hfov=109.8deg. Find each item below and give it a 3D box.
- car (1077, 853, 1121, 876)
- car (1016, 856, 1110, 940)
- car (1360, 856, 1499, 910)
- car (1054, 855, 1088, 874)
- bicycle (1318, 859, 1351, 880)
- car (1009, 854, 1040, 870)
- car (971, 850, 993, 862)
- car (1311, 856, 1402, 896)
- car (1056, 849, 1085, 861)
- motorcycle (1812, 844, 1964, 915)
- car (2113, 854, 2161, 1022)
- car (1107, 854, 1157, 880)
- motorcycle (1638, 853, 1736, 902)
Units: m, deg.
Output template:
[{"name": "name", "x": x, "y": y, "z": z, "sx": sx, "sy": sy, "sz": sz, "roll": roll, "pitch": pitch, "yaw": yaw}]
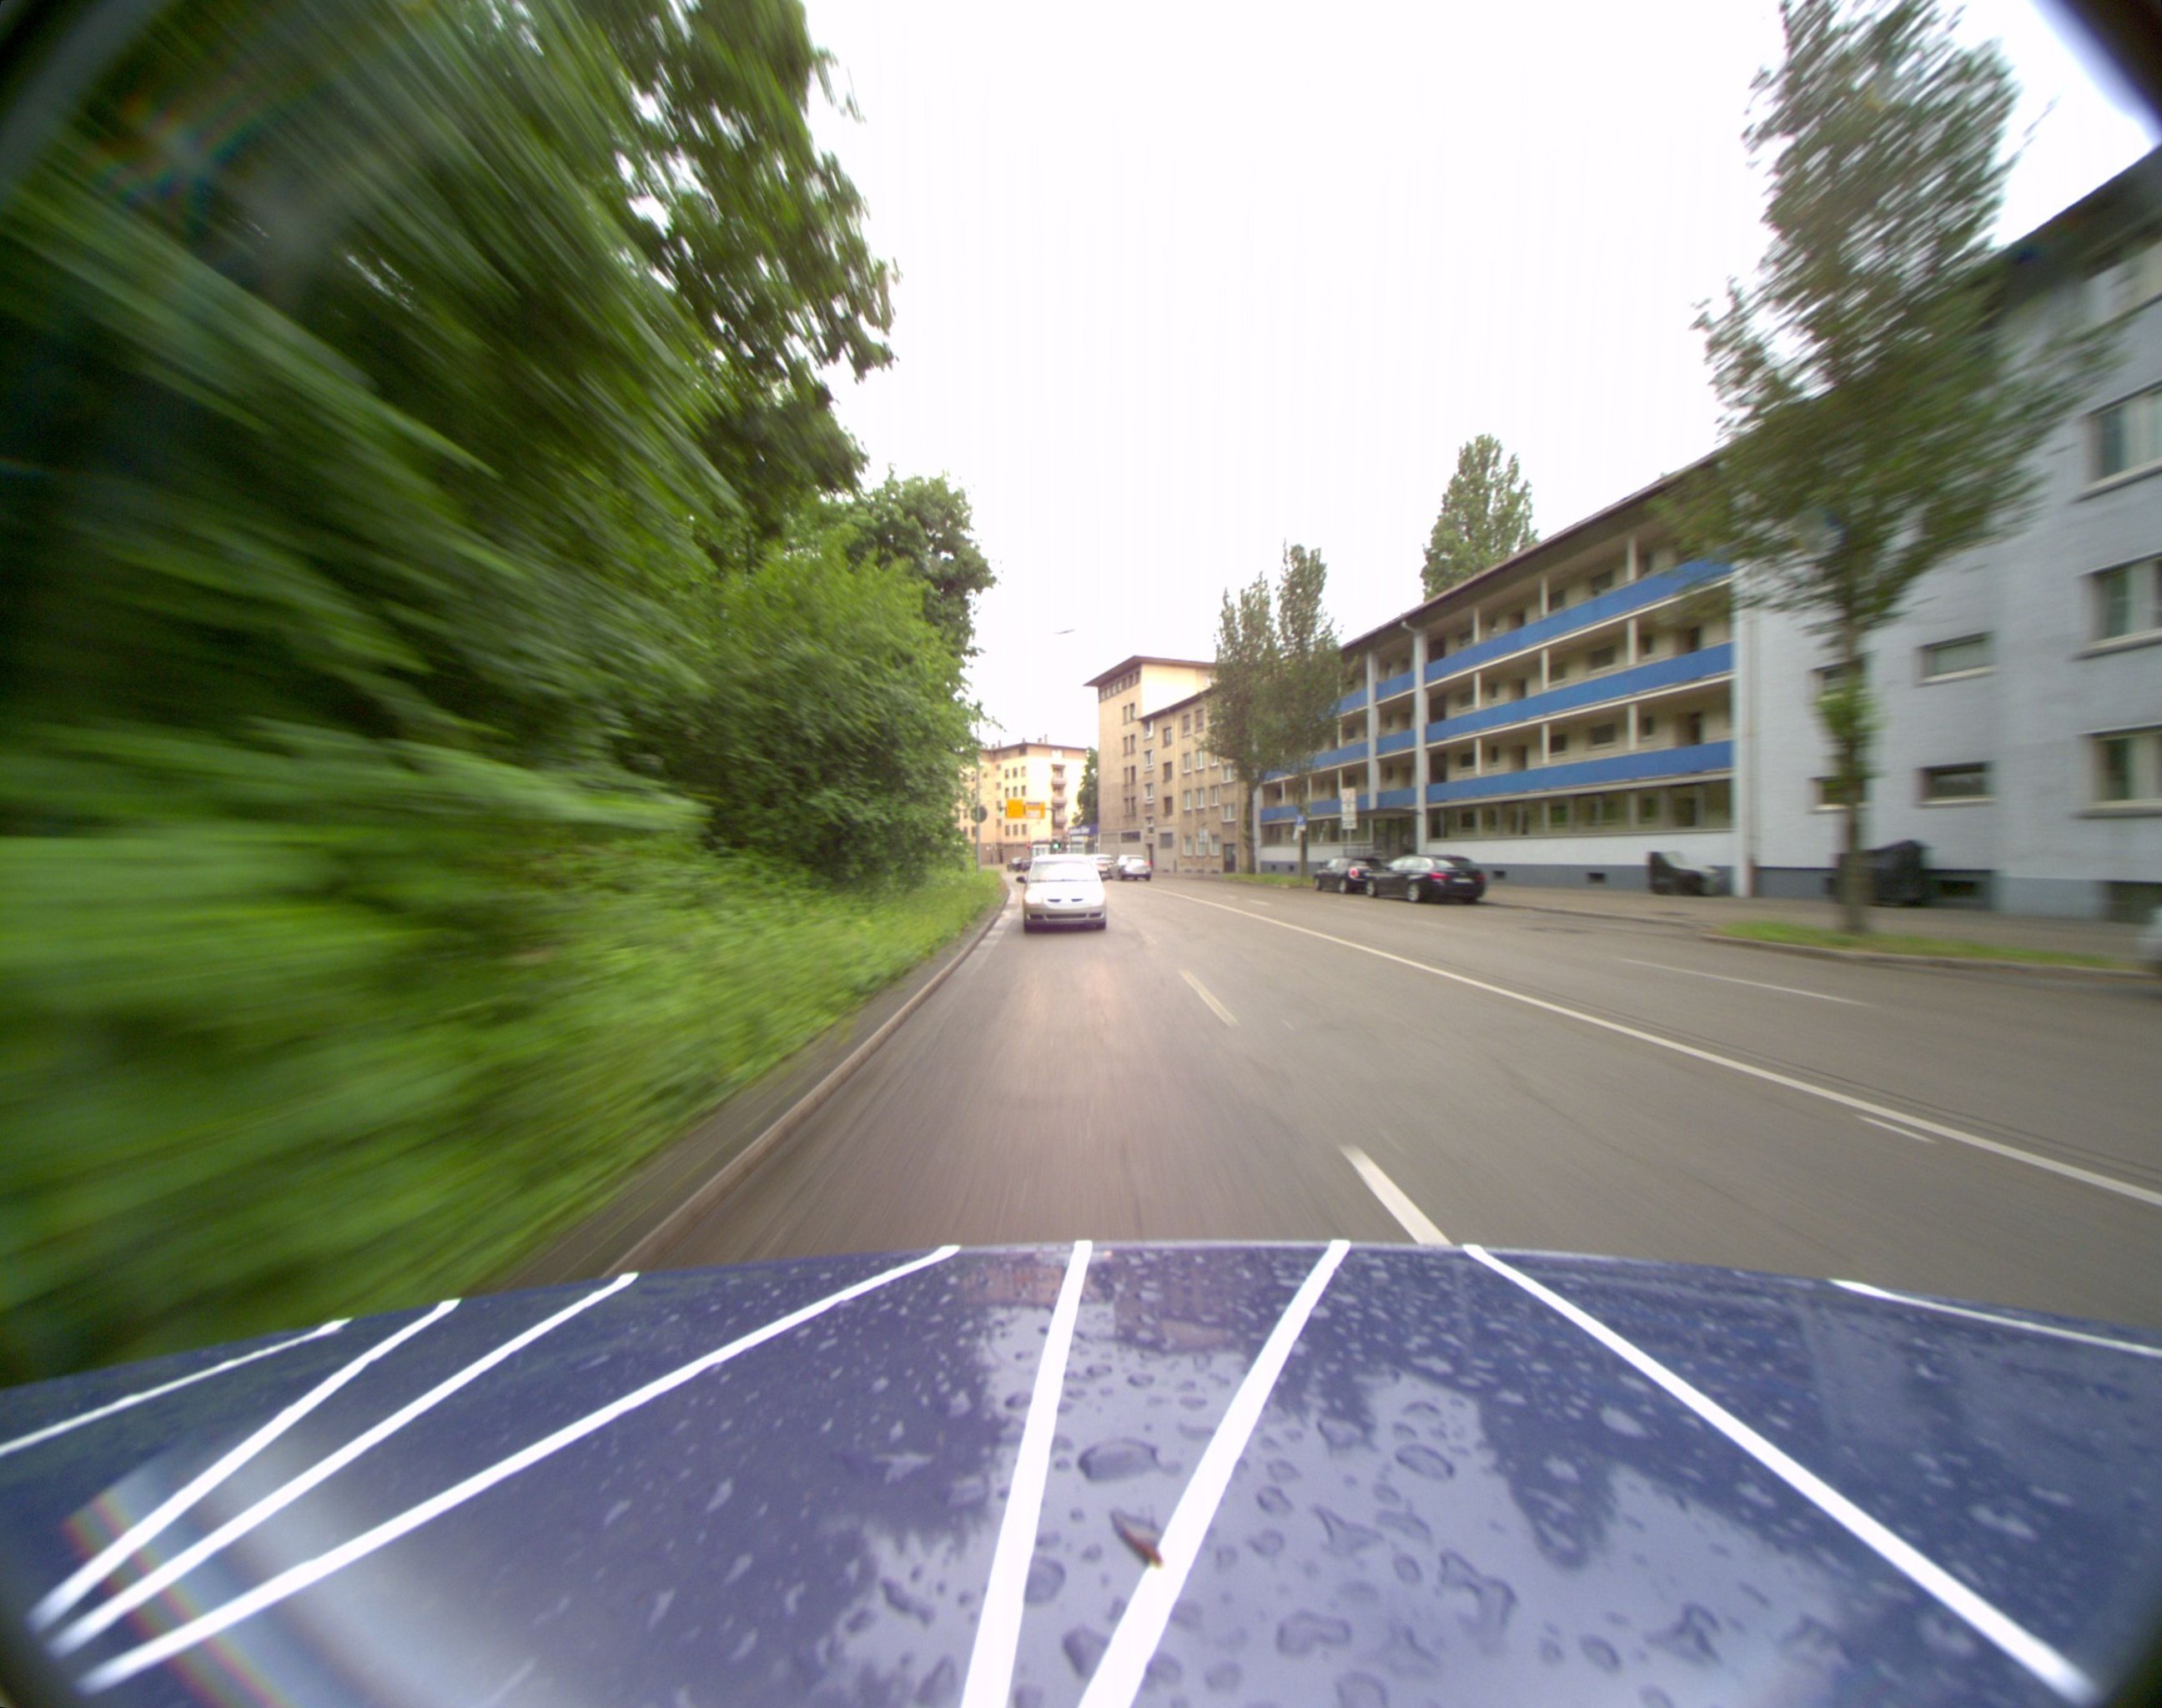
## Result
[{"name": "car", "x": 1.144, "y": 0.692, "z": 52.417, "sx": 1.827, "sy": 1.507, "sz": 5.022, "roll": 1, "pitch": 0, "yaw": -13}, {"name": "car", "x": -0.396, "y": 0.852, "z": 16.621, "sx": 1.752, "sy": 1.510, "sz": 3.999, "roll": -2, "pitch": 0, "yaw": -2}, {"name": "car", "x": 10.657, "y": 0.808, "z": 23.708, "sx": 1.826, "sy": 1.431, "sz": 4.890, "roll": 1, "pitch": 0, "yaw": -3}, {"name": "car", "x": -0.809, "y": 0.792, "z": 59.919, "sx": 1.686, "sy": 1.439, "sz": 3.814, "roll": 0, "pitch": 0, "yaw": -16}, {"name": "bicycle", "x": 12.775, "y": 0.751, "z": 38.327, "sx": 0.614, "sy": 1.017, "sz": 1.730, "roll": 0, "pitch": 0, "yaw": -20}, {"name": "car", "x": -5.355, "y": 0.737, "z": 71.909, "sx": 1.798, "sy": 1.399, "sz": 4.617, "roll": 0, "pitch": 0, "yaw": -19}, {"name": "car", "x": -12.642, "y": 0.279, "z": 96.734, "sx": 1.793, "sy": 1.487, "sz": 4.208, "roll": 1, "pitch": 0, "yaw": -21}, {"name": "car", "x": 10.484, "y": 0.807, "z": 29.279, "sx": 1.785, "sy": 1.395, "sz": 4.087, "roll": 1, "pitch": 0, "yaw": -4}, {"name": "car", "x": -1.544, "y": 0.170, "z": 109.591, "sx": 4.269, "sy": 1.638, "sz": 1.763, "roll": 1, "pitch": 2, "yaw": 44}, {"name": "motorcycle", "x": 17.514, "y": 0.524, "z": 16.588, "sx": 0.677, "sy": 1.406, "sz": 2.234, "roll": -3, "pitch": 1, "yaw": -10}, {"name": "car", "x": 11.217, "y": 0.808, "z": 5.308, "sx": 1.768, "sy": 1.594, "sz": 4.532, "roll": 0, "pitch": 0, "yaw": -2}, {"name": "car", "x": 2.890, "y": 0.697, "z": 43.944, "sx": 1.759, "sy": 1.417, "sz": 4.532, "roll": -1, "pitch": 0, "yaw": -12}, {"name": "motorcycle", "x": 16.711, "y": 0.610, "z": 21.039, "sx": 0.677, "sy": 1.247, "sz": 2.234, "roll": -3, "pitch": 1, "yaw": -8}]
